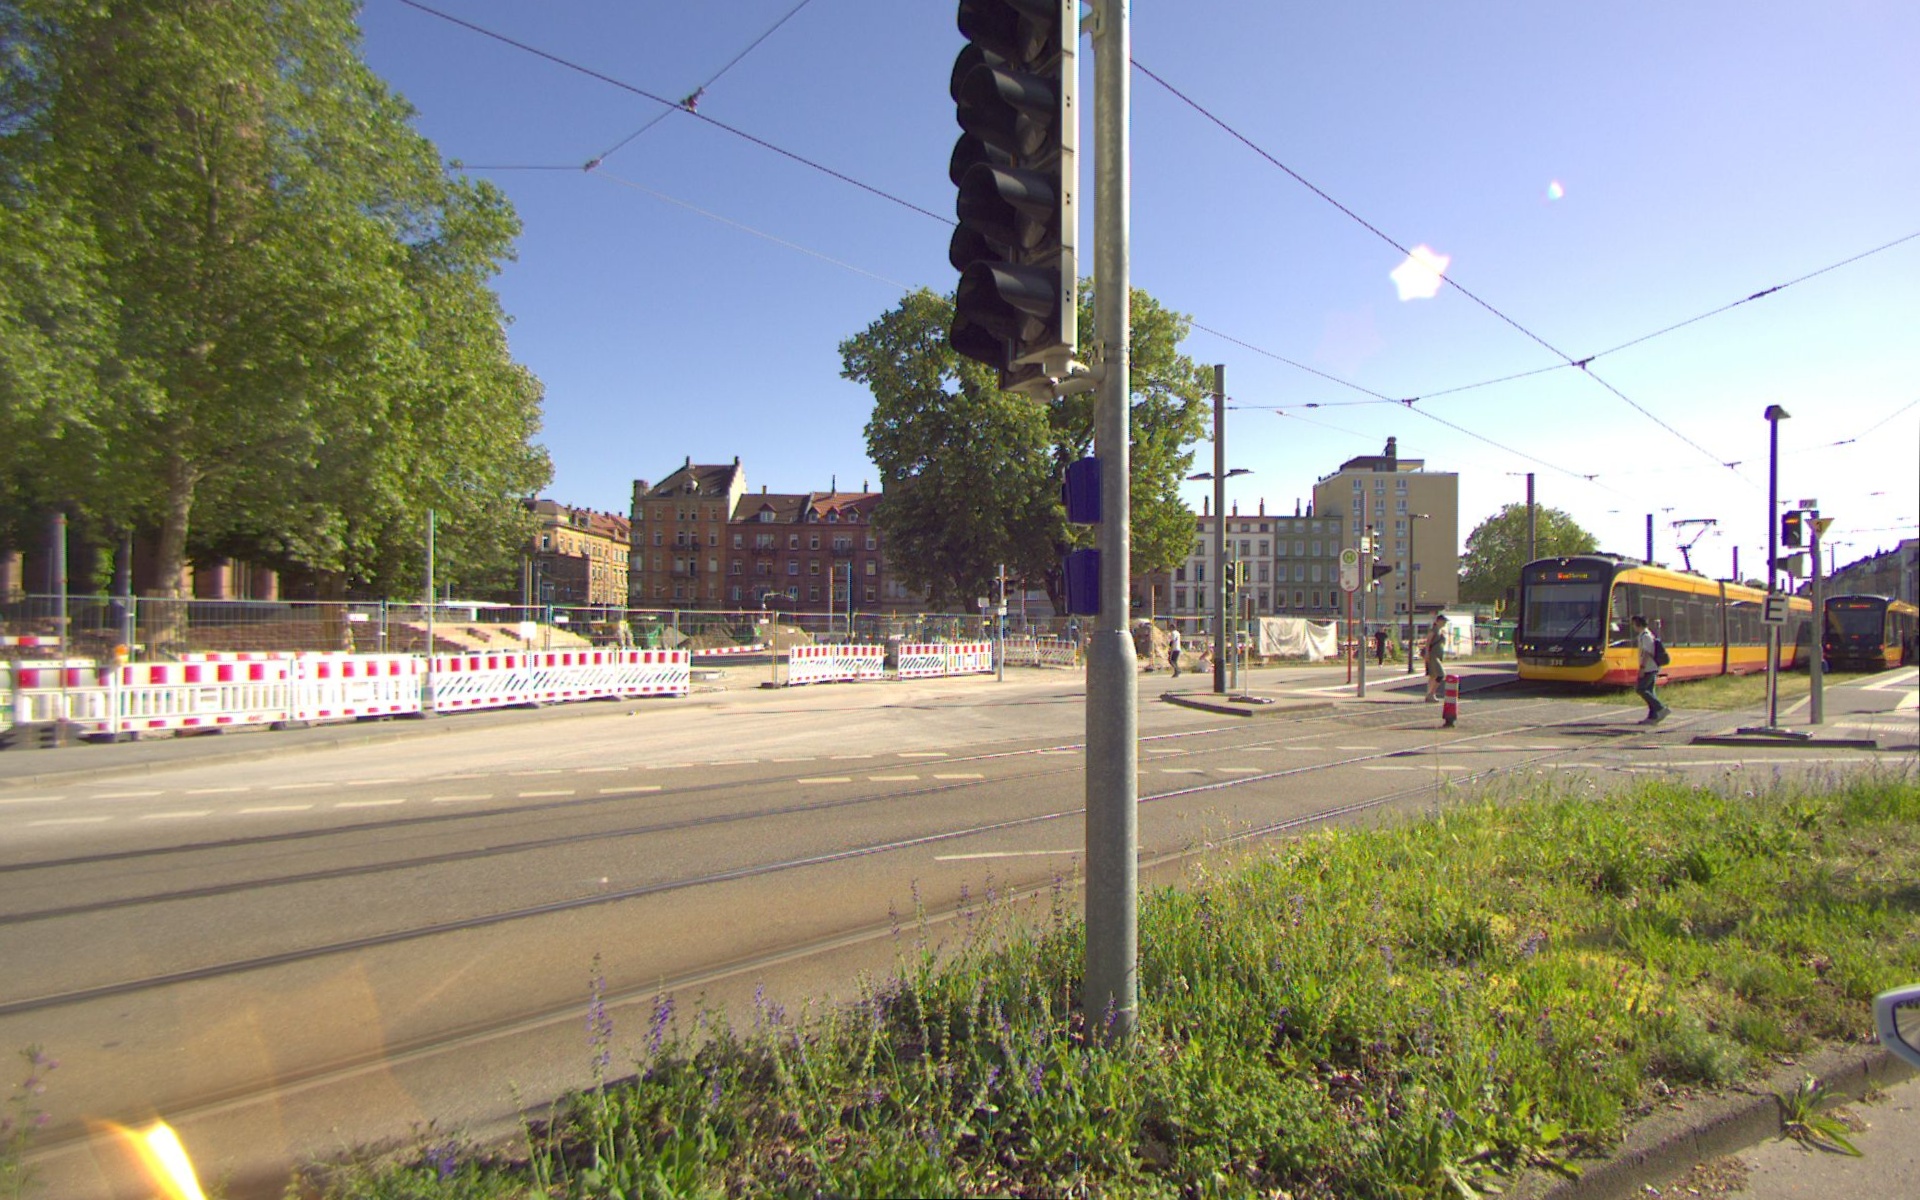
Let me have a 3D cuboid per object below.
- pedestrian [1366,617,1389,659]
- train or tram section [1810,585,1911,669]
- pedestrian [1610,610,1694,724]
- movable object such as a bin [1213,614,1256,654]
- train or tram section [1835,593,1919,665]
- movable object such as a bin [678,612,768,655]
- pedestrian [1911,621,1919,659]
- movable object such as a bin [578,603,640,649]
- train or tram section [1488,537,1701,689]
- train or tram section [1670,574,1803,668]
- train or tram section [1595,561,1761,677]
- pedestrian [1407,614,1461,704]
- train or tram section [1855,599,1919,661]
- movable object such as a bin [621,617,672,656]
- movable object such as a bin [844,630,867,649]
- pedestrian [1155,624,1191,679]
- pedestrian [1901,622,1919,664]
[{"bbox_3d":[18.181,1.639,43.755,0.795,1.791,0.661,2,-2,-45],"label":"pedestrian"},{"bbox_3d":[42.331,1.275,47.052,10.472,3.554,2.843,2,-2,-44],"label":"train or tram section"},{"bbox_3d":[11.744,1.133,17.053,0.756,1.856,1.006,3,-4,-45],"label":"pedestrian"},{"bbox_3d":[20.642,2.515,75.701,1.798,2.833,3.997,2,-1,-5],"label":"movable object such as a bin"},{"bbox_3d":[49.852,1.592,54.408,10.472,3.554,2.843,2,-2,-44],"label":"train or tram section"},{"bbox_3d":[-16.979,2.399,72.194,5.968,2.795,1.894,2,-1,-3],"label":"movable object such as a bin"},{"bbox_3d":[47.707,2.008,49.799,0.697,1.881,0.668,3,-1,-38],"label":"pedestrian"},{"bbox_3d":[-26.413,1.935,75.761,3.060,3.214,5.244,2,-1,-5],"label":"movable object such as a bin"},{"bbox_3d":[18.060,0.460,28.155,10.411,3.554,2.789,2,-2,-45],"label":"train or tram section"},{"bbox_3d":[33.315,0.931,42.837,11.132,3.554,2.790,2,-1,-43],"label":"train or tram section"},{"bbox_3d":[25.526,0.722,35.391,10.537,3.554,2.790,2,-1,-43],"label":"train or tram section"},{"bbox_3d":[10.264,1.250,21.747,0.888,1.875,0.760,-1,1,39],"label":"pedestrian"},{"bbox_3d":[57.361,1.843,61.688,10.472,3.554,2.843,2,-1,-44],"label":"train or tram section"},{"bbox_3d":[-20.078,2.325,64.542,1.857,2.377,4.230,2,-1,0],"label":"movable object such as a bin"},{"bbox_3d":[-10.049,3.786,96.844,1.716,1.702,3.802,0,-1,2],"label":"movable object such as a bin"},{"bbox_3d":[7.066,1.685,33.295,0.957,1.791,0.863,-1,-2,32],"label":"pedestrian"},{"bbox_3d":[43.951,1.991,46.279,0.756,1.908,0.838,3,-1,-45],"label":"pedestrian"}]
